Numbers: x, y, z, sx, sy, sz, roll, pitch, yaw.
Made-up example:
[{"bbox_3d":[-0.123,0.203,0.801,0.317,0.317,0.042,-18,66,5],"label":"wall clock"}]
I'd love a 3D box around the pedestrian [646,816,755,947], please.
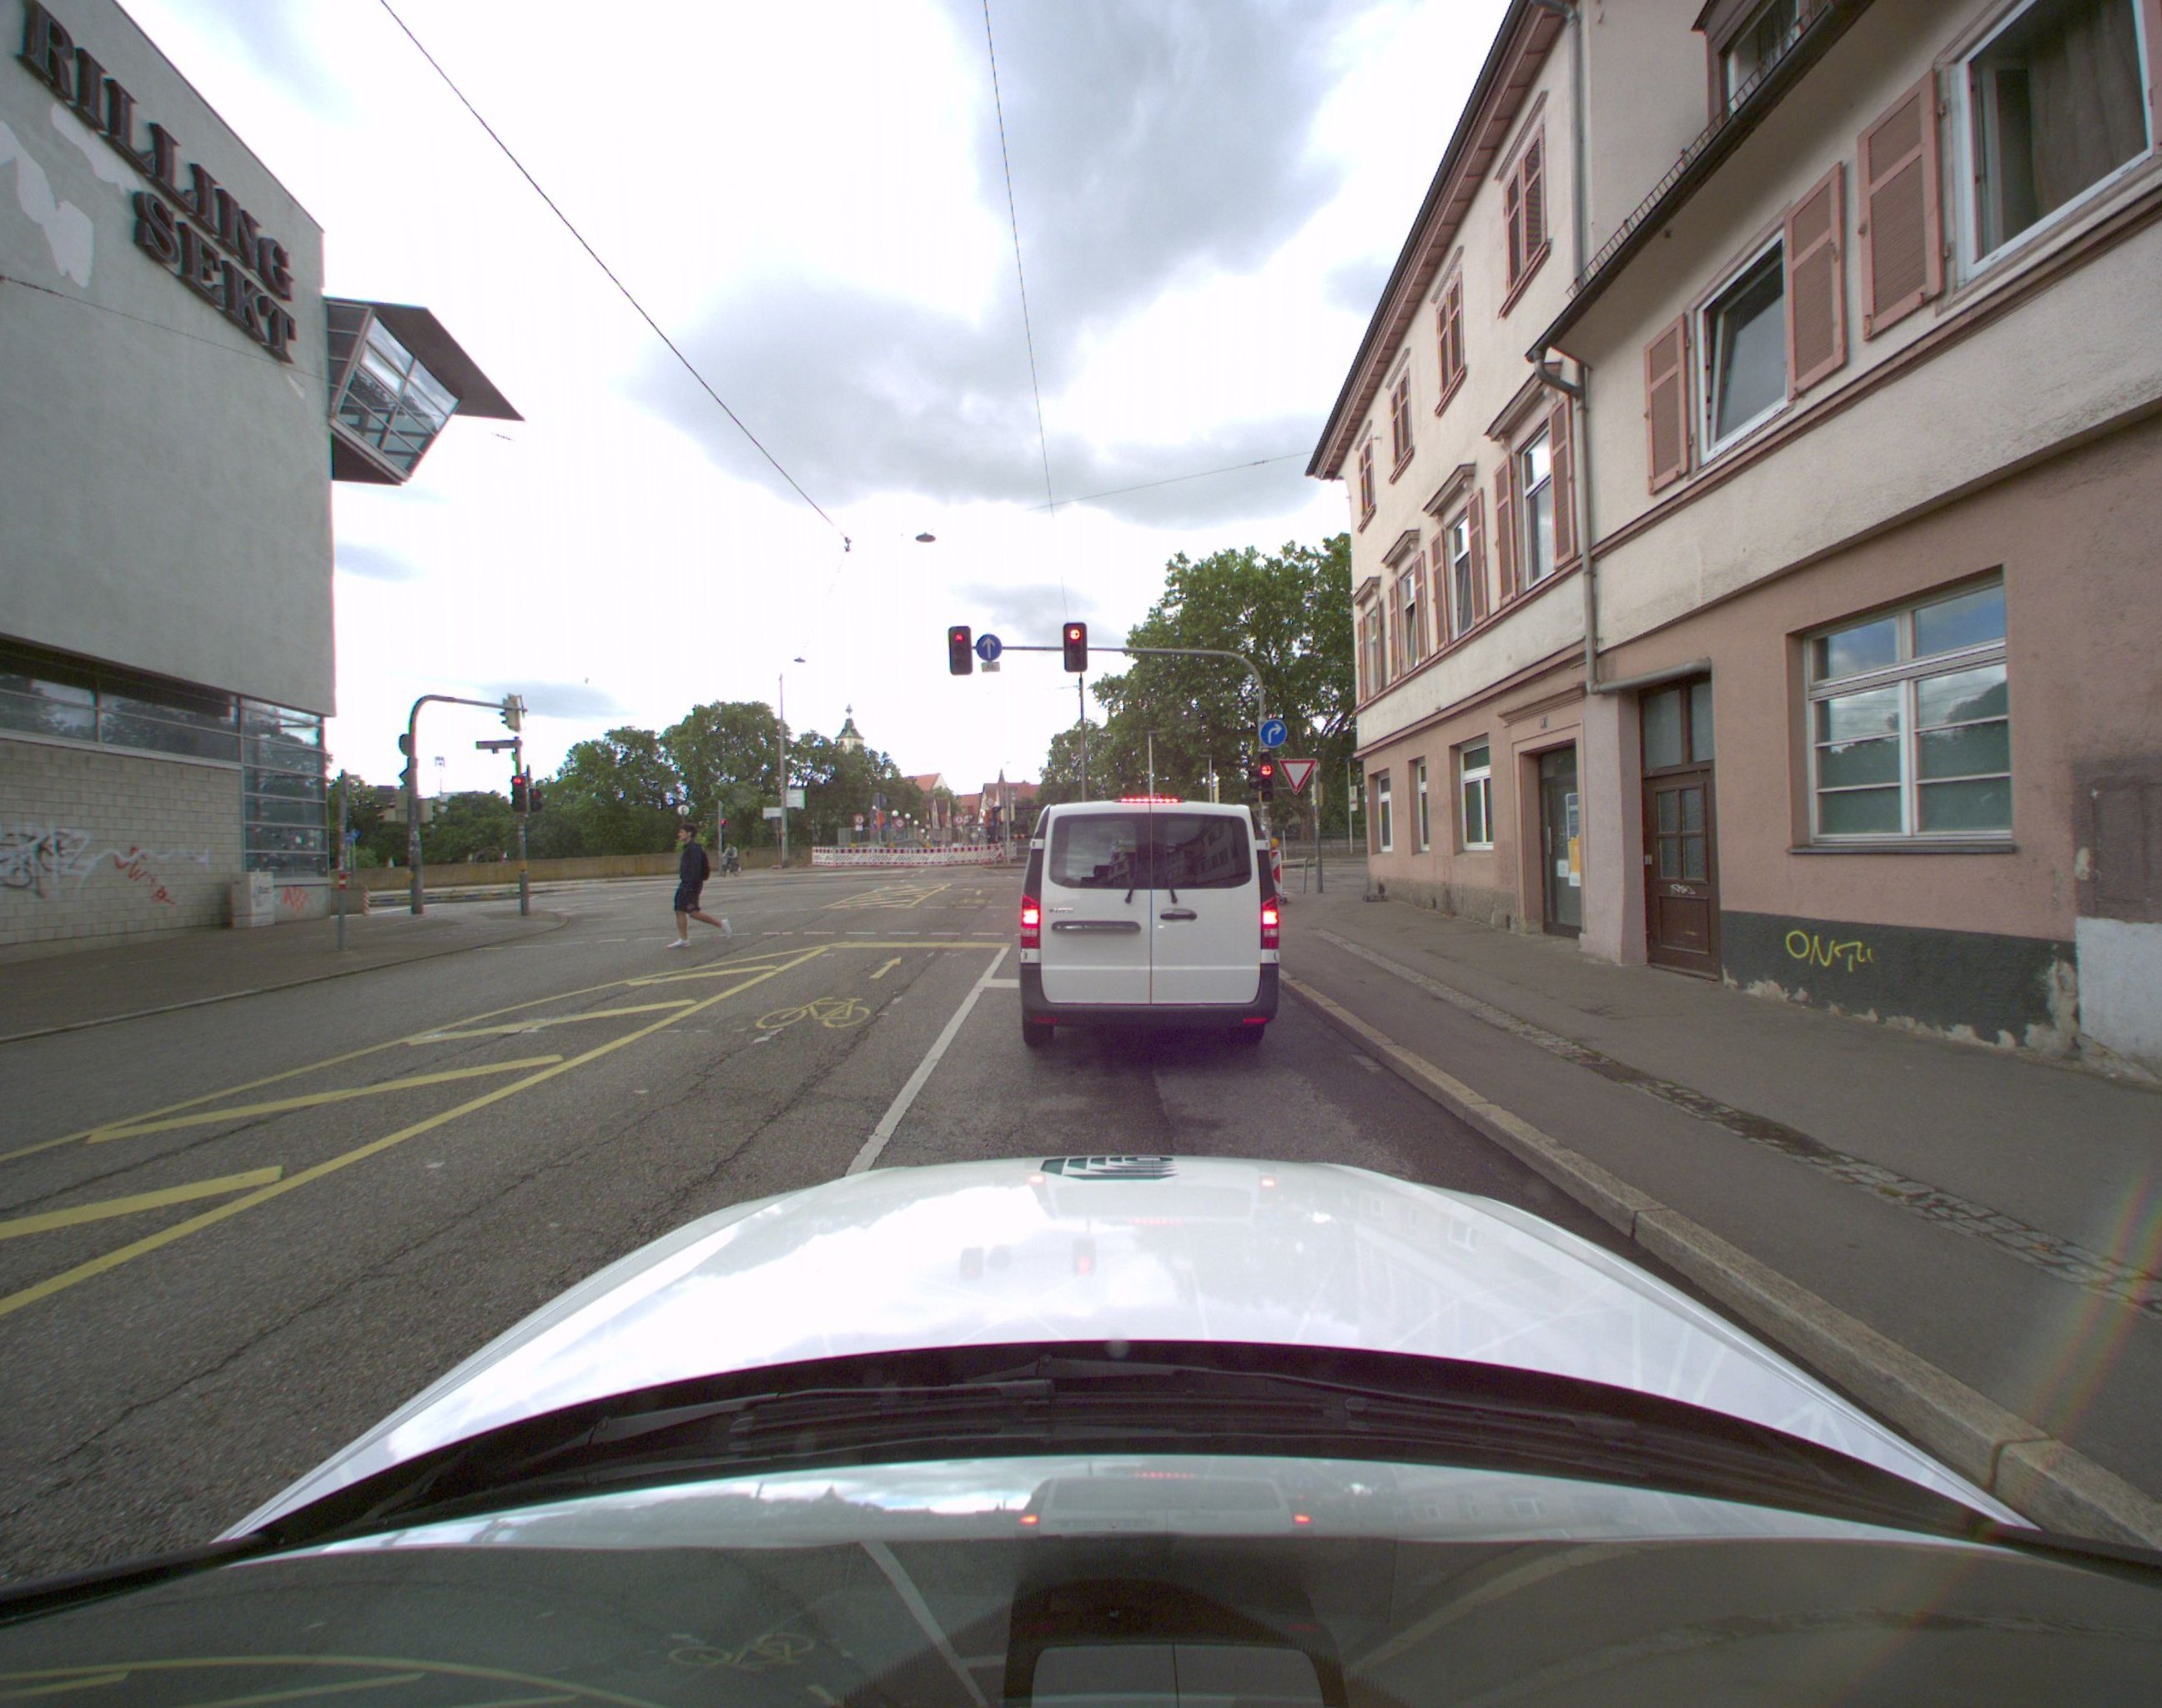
[{"bbox_3d":[-5.689,0.387,12.256,1.084,1.886,1.058,0,1,1],"label":"pedestrian"}]

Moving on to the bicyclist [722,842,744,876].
[{"bbox_3d":[-18.174,0.252,42.553,0.719,1.701,0.812,-2,0,6],"label":"bicyclist"}]

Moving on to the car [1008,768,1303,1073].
[{"bbox_3d":[0.569,0.389,7.754,1.943,2.013,4.700,0,1,2],"label":"car"}]

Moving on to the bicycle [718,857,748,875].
[{"bbox_3d":[-18.194,0.620,42.635,0.538,0.892,1.883,-2,0,6],"label":"bicycle"}]
